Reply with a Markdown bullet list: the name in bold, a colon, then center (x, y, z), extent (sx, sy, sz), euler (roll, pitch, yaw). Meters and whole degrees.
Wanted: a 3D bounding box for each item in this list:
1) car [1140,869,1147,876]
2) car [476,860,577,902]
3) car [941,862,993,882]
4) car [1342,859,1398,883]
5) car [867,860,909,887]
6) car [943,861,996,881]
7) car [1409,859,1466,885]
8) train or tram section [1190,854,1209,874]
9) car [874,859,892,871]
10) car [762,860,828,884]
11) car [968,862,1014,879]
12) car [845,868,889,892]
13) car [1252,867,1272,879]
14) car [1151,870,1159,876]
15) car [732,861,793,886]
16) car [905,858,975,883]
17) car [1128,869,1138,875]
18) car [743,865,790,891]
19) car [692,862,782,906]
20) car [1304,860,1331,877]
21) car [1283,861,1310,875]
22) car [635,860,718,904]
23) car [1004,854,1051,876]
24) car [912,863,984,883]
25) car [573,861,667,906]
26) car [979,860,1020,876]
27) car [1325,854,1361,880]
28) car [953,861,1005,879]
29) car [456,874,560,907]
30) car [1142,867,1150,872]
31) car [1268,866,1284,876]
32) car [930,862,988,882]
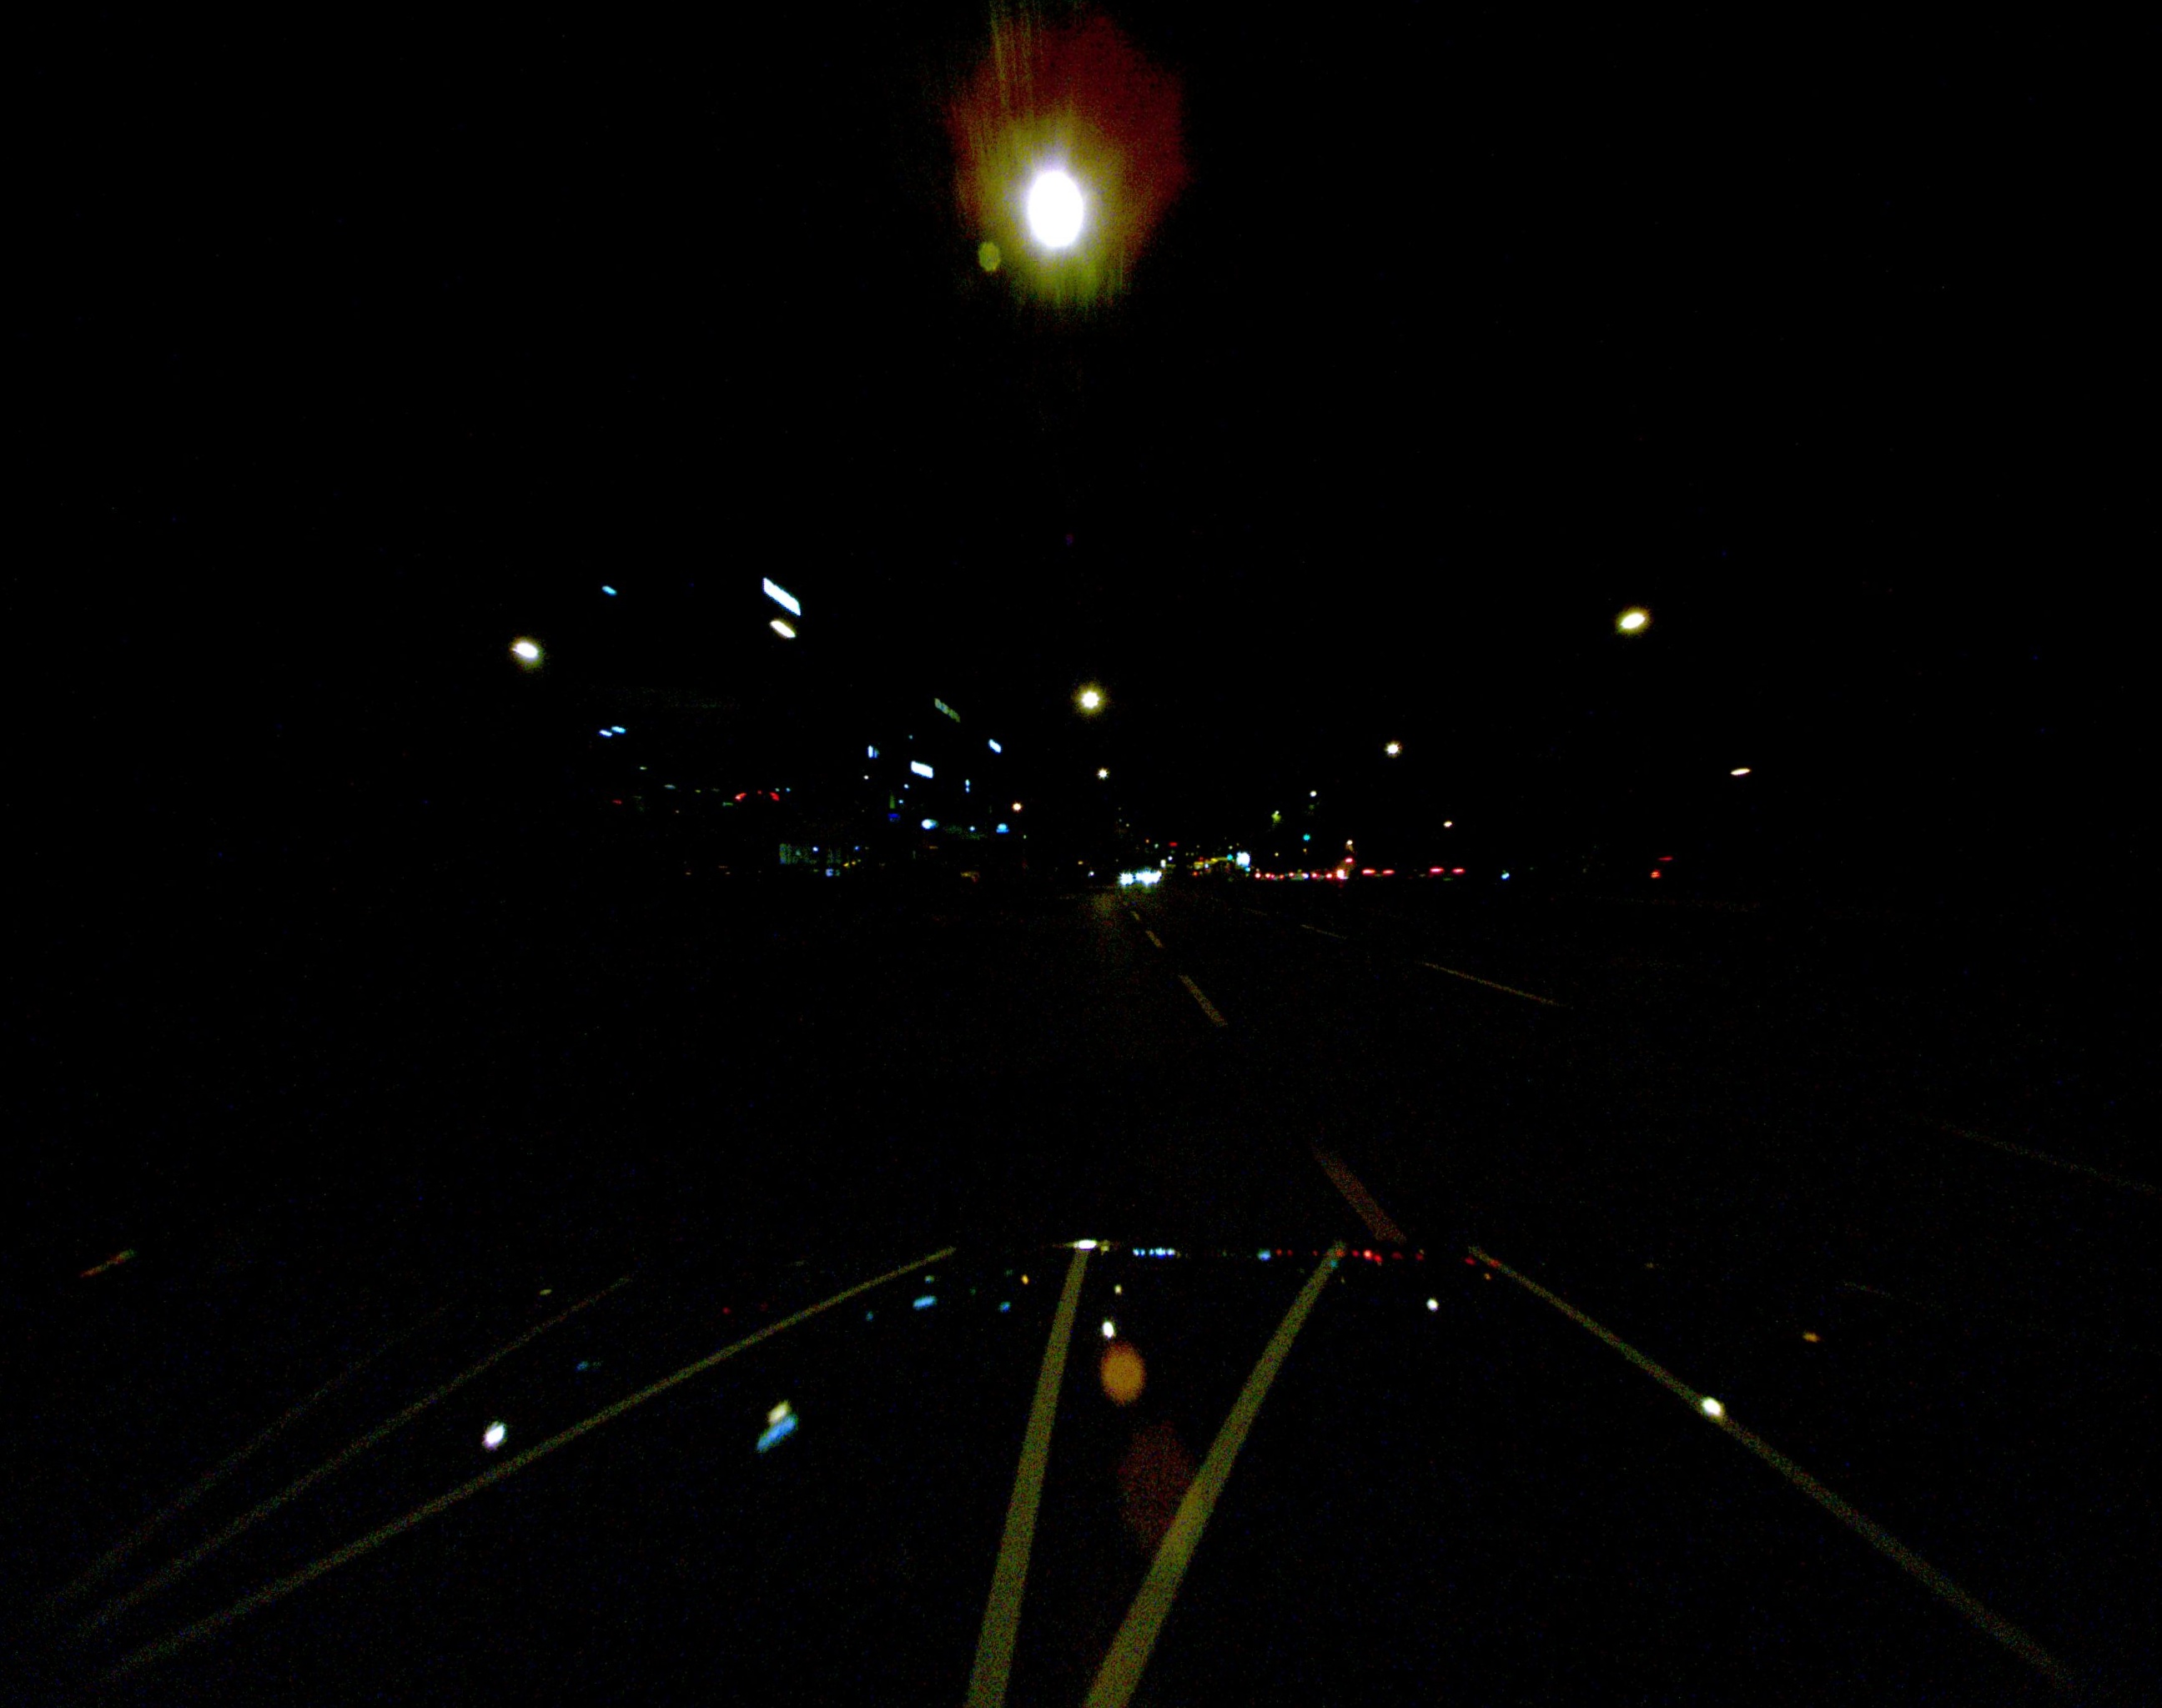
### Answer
- **car**: center (16.785, 4.993, 204.122), extent (1.711, 1.562, 4.000), euler (-1, 0, 1)
- **car**: center (-28.084, 1.361, 38.555), extent (3.716, 2.002, 1.747), euler (-1, 0, -6)
- **car**: center (-8.686, 1.380, 57.927), extent (3.616, 1.425, 1.677), euler (-1, 0, -19)
- **car**: center (18.963, 1.087, 50.108), extent (1.871, 1.420, 4.957), euler (-2, -1, 2)
- **car**: center (-13.876, 1.367, 54.587), extent (1.591, 1.786, 3.859), euler (-1, 2, -36)
- **car**: center (-8.902, 1.379, 60.680), extent (4.002, 1.461, 1.831), euler (2, -1, -15)
- **car**: center (21.976, 1.107, 47.055), extent (1.865, 1.505, 4.617), euler (1, 0, 8)
- **train or tram section**: center (23.916, 2.009, 153.888), extent (2.764, 3.804, 18.682), euler (-1, -1, 6)
- **car**: center (-26.601, 1.462, 101.962), extent (2.001, 1.652, 4.661), euler (-1, 0, -18)
- **car**: center (-21.384, 1.307, 56.883), extent (4.328, 1.644, 1.653), euler (-1, 0, -33)
- **car**: center (-8.227, 1.487, 69.310), extent (4.037, 1.365, 1.824), euler (3, -1, -11)
- **car**: center (-14.218, 1.694, 50.302), extent (1.781, 1.401, 4.328), euler (-1, 1, -30)
- **car**: center (24.452, 2.583, 102.696), extent (1.789, 1.488, 4.174), euler (-1, 0, 1)
- **car**: center (18.792, 4.850, 193.660), extent (1.907, 1.608, 3.721), euler (-1, -1, 6)
- **car**: center (-21.901, 1.327, 52.288), extent (3.486, 1.576, 1.749), euler (1, 2, 5)
- **car**: center (-8.755, 1.018, 47.383), extent (4.135, 1.412, 1.875), euler (-2, 0, -9)
- **car**: center (13.052, 4.519, 190.233), extent (1.946, 1.299, 3.909), euler (1, -1, 11)
- **car**: center (-20.122, 1.507, 48.683), extent (1.637, 1.505, 3.415), euler (0, 2, -1)
- **car**: center (-16.894, 1.417, 37.713), extent (1.999, 2.001, 5.627), euler (-1, -1, -1)
- **car**: center (25.095, 1.507, 80.800), extent (1.783, 1.703, 4.228), euler (-1, -1, 4)
- **car**: center (21.744, 1.395, 76.793), extent (1.624, 1.431, 4.339), euler (1, 0, 3)
- **car**: center (-19.802, 1.324, 37.383), extent (1.816, 1.982, 4.408), euler (-1, -1, -2)
- **car**: center (-7.282, 1.525, 103.421), extent (6.039, 2.514, 2.281), euler (5, -2, -12)
- **car**: center (-9.201, 1.322, 52.673), extent (4.649, 1.256, 1.944), euler (0, -2, -20)
- **car**: center (-22.223, 1.376, 36.848), extent (1.956, 1.982, 4.408), euler (-1, -1, -2)
- **car**: center (-7.921, 1.367, 73.989), extent (3.815, 1.444, 1.716), euler (2, -1, -9)
- **car**: center (28.993, 1.411, 84.323), extent (2.149, 2.655, 6.966), euler (2, 0, 7)
- **car**: center (-8.505, 1.379, 63.479), extent (4.003, 1.383, 1.824), euler (2, -2, -18)
- **car**: center (-27.303, 1.712, 36.290), extent (3.731, 1.441, 1.616), euler (0, 1, 0)
- **car**: center (19.595, 4.647, 228.426), extent (1.857, 1.481, 3.563), euler (-1, -1, 11)
- **car**: center (28.869, 2.489, 112.581), extent (1.663, 1.507, 3.913), euler (-1, -1, 6)
- **car**: center (-8.924, 1.306, 55.383), extent (4.001, 1.415, 1.907), euler (0, -2, -13)
